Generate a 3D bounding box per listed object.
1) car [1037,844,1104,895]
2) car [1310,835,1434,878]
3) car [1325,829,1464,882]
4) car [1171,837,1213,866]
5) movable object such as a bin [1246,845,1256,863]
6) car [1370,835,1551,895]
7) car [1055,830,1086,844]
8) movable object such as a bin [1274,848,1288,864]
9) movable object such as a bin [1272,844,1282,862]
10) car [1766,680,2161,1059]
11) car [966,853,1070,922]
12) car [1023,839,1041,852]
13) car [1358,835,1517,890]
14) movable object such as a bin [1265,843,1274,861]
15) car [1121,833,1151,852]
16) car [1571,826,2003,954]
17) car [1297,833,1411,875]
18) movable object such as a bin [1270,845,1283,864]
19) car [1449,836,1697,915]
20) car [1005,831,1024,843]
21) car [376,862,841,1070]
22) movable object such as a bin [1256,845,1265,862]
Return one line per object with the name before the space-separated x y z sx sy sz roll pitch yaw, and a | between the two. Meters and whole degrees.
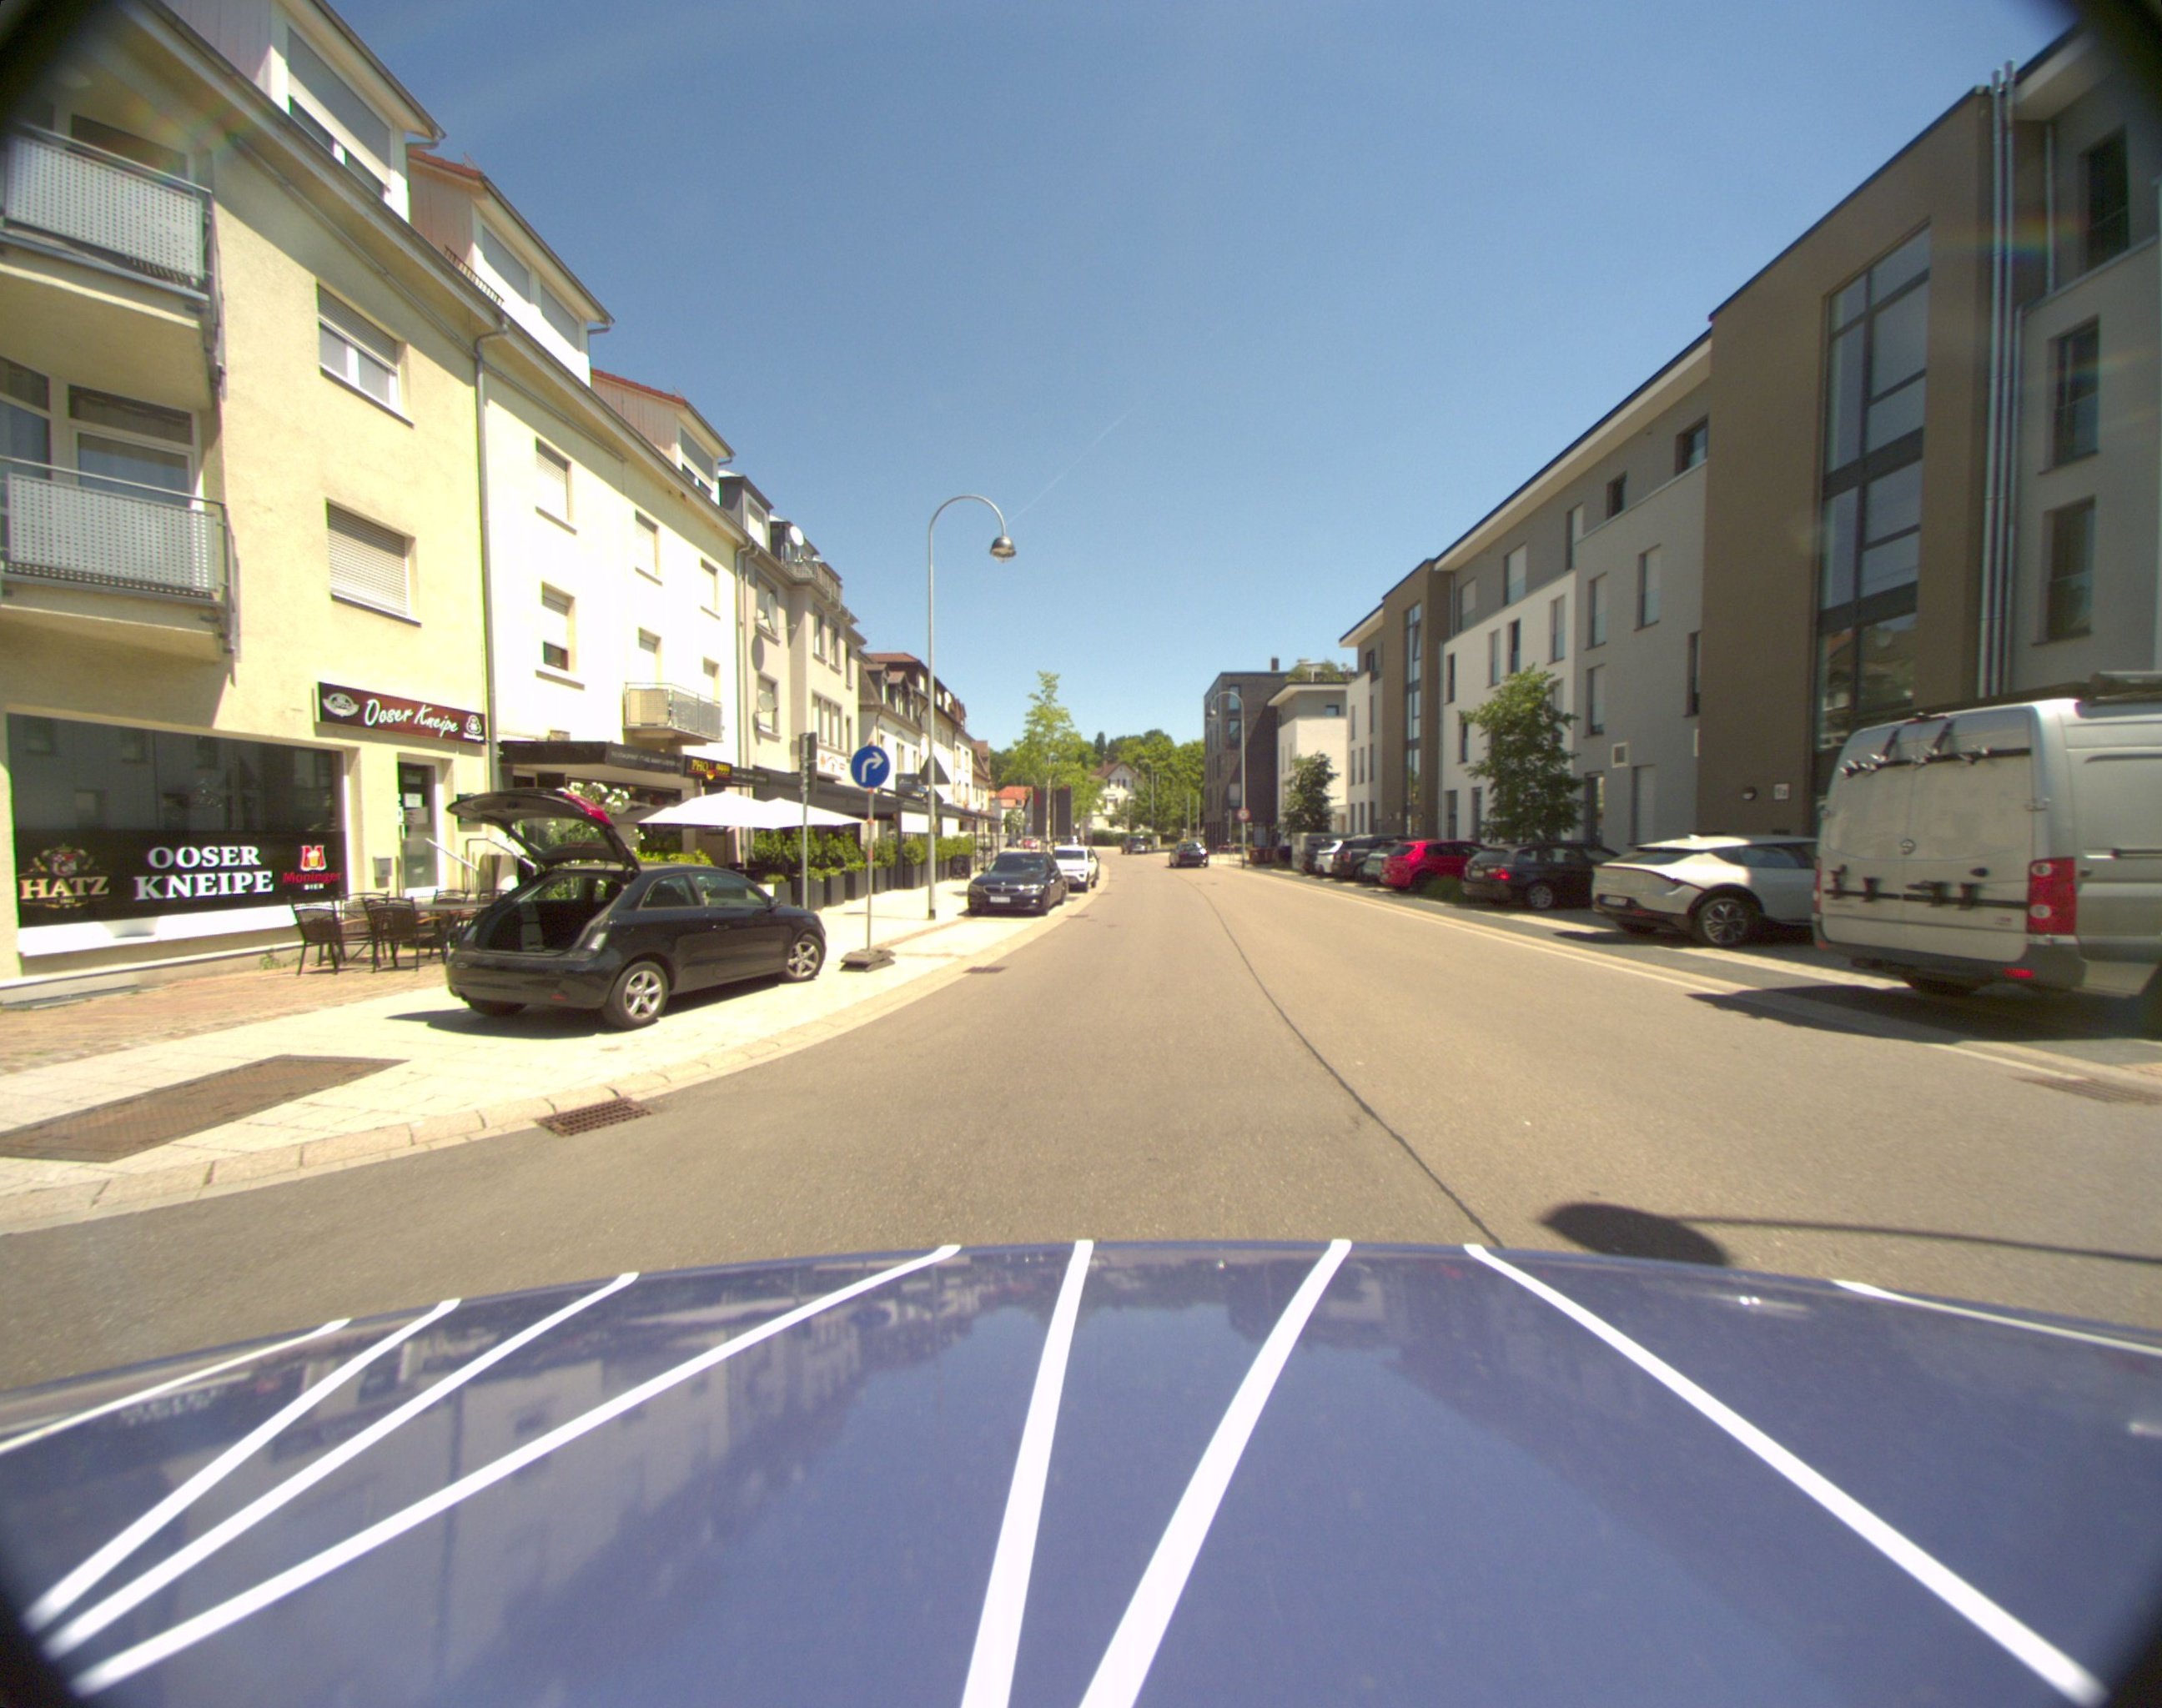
car | -0.278 0.465 26.458 1.741 1.478 4.055 2 2 7
car | 11.021 0.063 29.010 3.996 1.413 1.909 -2 2 3
car | 10.829 0.033 26.465 4.041 1.642 2.000 -2 2 4
car | 6.390 -0.176 44.157 1.898 1.545 4.798 -2 1 2
movable object such as a bin | 9.805 -0.021 43.840 0.484 0.992 0.587 -1 2 1
car | 10.436 0.278 21.144 4.041 1.422 2.000 -2 2 4
car | -1.334 -2.163 96.490 1.951 1.649 4.224 -3 3 -31
movable object such as a bin | 10.663 0.096 40.500 0.556 0.863 0.481 -2 2 -15
movable object such as a bin | 11.312 -0.063 43.861 0.404 0.992 0.555 -1 2 1
car | 9.849 0.005 6.502 5.780 2.717 2.291 -2 2 3
car | -1.419 0.721 18.925 1.728 1.397 4.610 1 1 6
car | -5.897 -1.010 91.144 1.685 1.505 3.382 -1 1 -13
car | 10.993 0.234 23.678 4.041 1.488 2.000 -2 2 4
movable object such as a bin | 10.870 -0.118 43.858 0.404 0.992 0.555 -1 2 1
car | 4.991 -1.028 69.452 1.817 1.691 4.072 -1 1 -9
car | 10.138 0.465 11.244 4.464 1.582 1.999 -2 2 2
car | 11.187 -0.020 31.391 3.996 1.507 2.000 -2 2 3
movable object such as a bin | 10.699 0.002 41.652 0.555 1.014 0.560 -1 2 -3
car | 10.539 0.412 16.486 4.211 1.430 1.885 -2 2 -2
car | -9.156 -2.342 103.854 1.737 1.465 4.315 1 2 -17
car | -4.389 0.875 7.870 1.874 1.483 3.865 1 1 14
movable object such as a bin | 10.347 -0.034 43.880 0.404 0.992 0.555 -1 2 1
